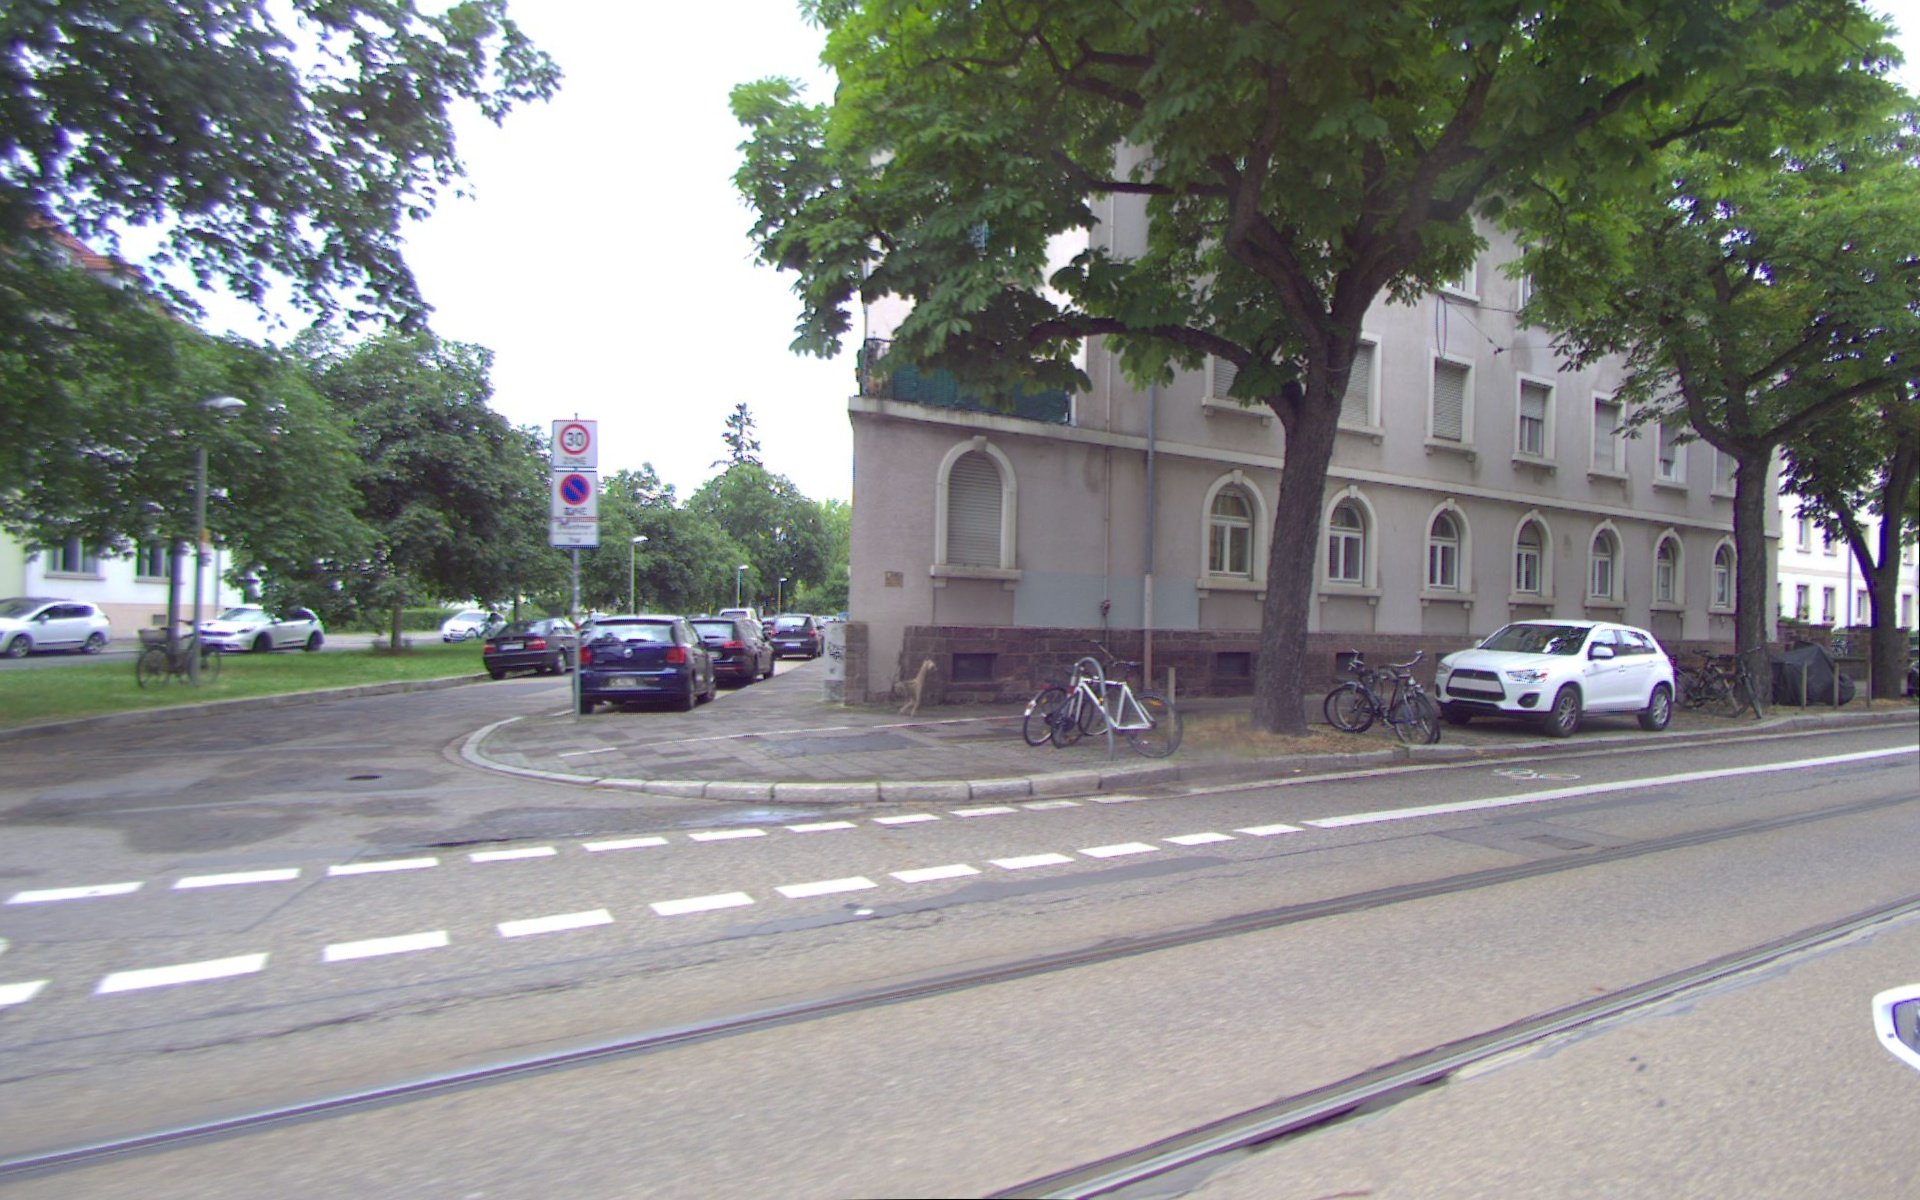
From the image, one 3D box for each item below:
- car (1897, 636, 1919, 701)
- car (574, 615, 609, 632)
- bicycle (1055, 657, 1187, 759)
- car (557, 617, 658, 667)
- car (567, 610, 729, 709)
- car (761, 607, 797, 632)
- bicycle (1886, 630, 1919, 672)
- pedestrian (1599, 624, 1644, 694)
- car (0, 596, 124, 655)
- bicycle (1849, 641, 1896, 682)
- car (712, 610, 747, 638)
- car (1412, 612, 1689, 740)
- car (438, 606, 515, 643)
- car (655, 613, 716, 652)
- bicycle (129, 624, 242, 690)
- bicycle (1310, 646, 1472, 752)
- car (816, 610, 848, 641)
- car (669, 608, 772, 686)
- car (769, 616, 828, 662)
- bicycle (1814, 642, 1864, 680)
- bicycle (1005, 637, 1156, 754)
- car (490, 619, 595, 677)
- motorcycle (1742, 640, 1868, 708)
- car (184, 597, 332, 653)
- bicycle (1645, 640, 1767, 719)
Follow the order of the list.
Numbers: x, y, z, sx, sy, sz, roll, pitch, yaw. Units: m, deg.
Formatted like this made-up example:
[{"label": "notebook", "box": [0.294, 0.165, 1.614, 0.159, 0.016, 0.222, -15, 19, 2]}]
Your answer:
[{"label": "car", "box": [25.138, 1.723, 24.782, 4.187, 1.531, 1.769, 2, 0, -30]}, {"label": "car", "box": [-23.482, 1.493, 64.084, 1.273, 1.002, 3.166, 1, -1, -4]}, {"label": "bicycle", "box": [1.680, 1.091, 10.413, 1.383, 0.971, 0.480, 2, -1, -34]}, {"label": "car", "box": [-11.091, 1.277, 31.879, 1.640, 1.428, 4.001, 2, -1, 2]}, {"label": "car", "box": [-4.699, 0.851, 15.647, 1.709, 1.324, 3.757, 1, -1, -7]}, {"label": "car", "box": [-12.529, 1.314, 69.768, 1.863, 1.632, 4.498, 2, -1, -3]}, {"label": "bicycle", "box": [32.602, 1.734, 34.368, 2.116, 1.400, 0.789, 2, -1, -30]}, {"label": "pedestrian", "box": [14.574, 1.292, 22.131, 0.714, 1.487, 0.562, 2, -1, -30]}, {"label": "car", "box": [-26.541, 0.698, 28.838, 1.739, 1.571, 4.150, 2, -1, -4]}, {"label": "bicycle", "box": [31.888, 2.143, 35.094, 2.116, 1.400, 0.624, 2, -1, -31]}, {"label": "car", "box": [-12.248, 1.246, 53.506, 1.270, 1.409, 3.116, 2, -1, -4]}, {"label": "car", "box": [9.035, 1.081, 15.297, 4.178, 1.677, 1.887, 2, 0, -32]}, {"label": "car", "box": [-22.195, 1.093, 46.259, 1.729, 1.573, 4.187, 2, 0, -4]}, {"label": "car", "box": [-11.870, 1.370, 43.704, 1.812, 1.554, 3.997, 2, -1, -5]}, {"label": "bicycle", "box": [-12.333, 0.883, 16.064, 0.440, 0.936, 1.674, 8, -1, -2]}, {"label": "bicycle", "box": [5.543, 1.234, 13.033, 0.616, 1.136, 1.913, 2, 1, -30]}, {"label": "car", "box": [-6.495, 1.278, 51.317, 1.362, 1.449, 3.310, 2, -1, -3]}, {"label": "car", "box": [-5.026, 0.935, 21.522, 1.675, 1.483, 3.940, 1, -1, -7]}, {"label": "car", "box": [-5.539, 1.309, 34.785, 1.642, 1.460, 3.498, 2, -1, -3]}, {"label": "bicycle", "box": [31.389, 2.175, 35.853, 2.117, 1.315, 0.744, 2, -1, -32]}, {"label": "bicycle", "box": [1.391, 1.020, 11.320, 0.667, 1.151, 1.924, 0, 0, 44]}, {"label": "car", "box": [-10.402, 1.163, 25.214, 1.329, 1.316, 2.968, 2, -1, 1]}, {"label": "motorcycle", "box": [17.411, 1.520, 20.705, 2.285, 1.305, 0.863, 2, 0, -17]}, {"label": "car", "box": [-21.372, 0.759, 30.795, 1.768, 1.573, 4.187, 1, -1, -4]}, {"label": "bicycle", "box": [13.398, 1.400, 18.100, 0.641, 1.209, 1.743, -4, 2, -15]}]
